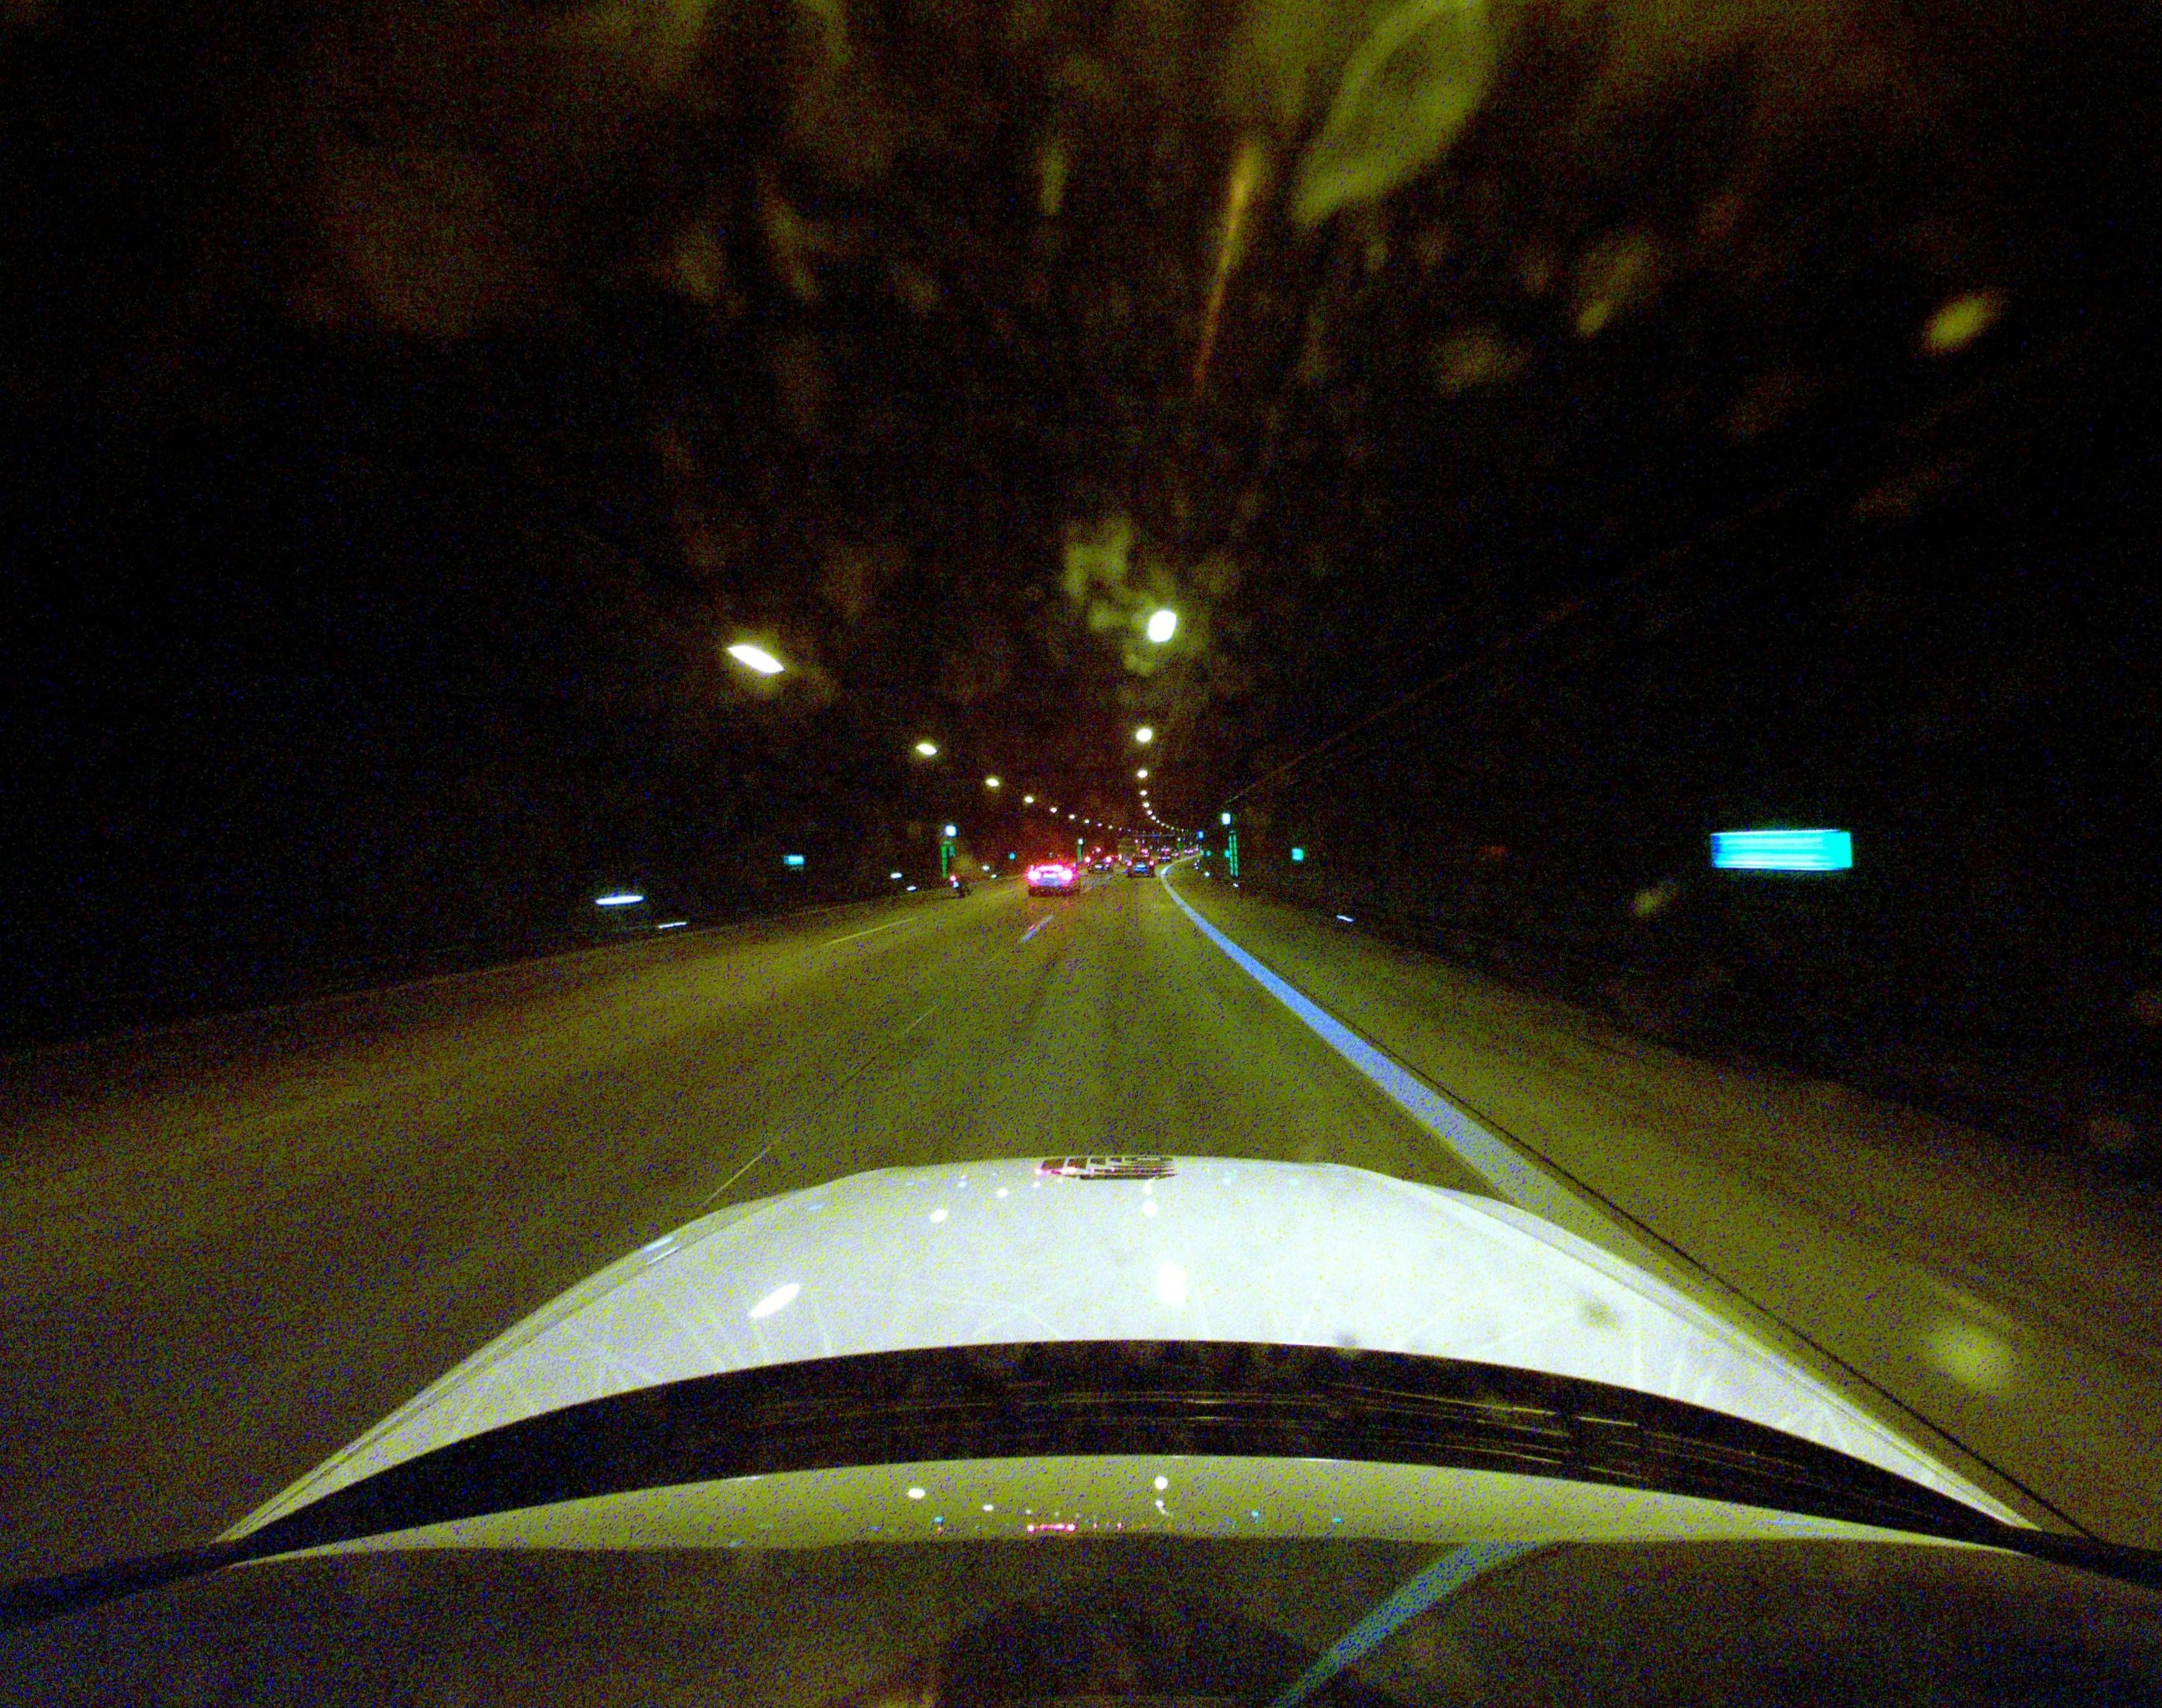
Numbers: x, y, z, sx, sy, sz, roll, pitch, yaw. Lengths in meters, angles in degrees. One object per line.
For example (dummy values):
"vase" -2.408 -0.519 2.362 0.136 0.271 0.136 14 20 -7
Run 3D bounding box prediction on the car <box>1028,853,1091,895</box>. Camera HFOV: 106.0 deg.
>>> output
"car" -0.794 0.754 32.927 1.692 1.419 5.072 -1 1 8

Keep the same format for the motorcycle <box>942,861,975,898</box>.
"motorcycle" -4.638 0.948 30.945 0.679 1.297 2.402 -1 0 5

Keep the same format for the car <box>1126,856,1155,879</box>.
"car" 4.016 0.920 54.871 1.733 1.464 3.878 -1 -1 7

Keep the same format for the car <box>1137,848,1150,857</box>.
"car" 11.559 -0.216 150.177 1.919 1.642 4.010 -1 0 9

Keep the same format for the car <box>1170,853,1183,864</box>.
"car" 15.793 0.692 134.804 1.939 1.772 4.010 -1 -1 9

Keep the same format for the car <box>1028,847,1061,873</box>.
"car" -2.817 0.472 64.290 1.983 2.013 4.007 -1 0 6

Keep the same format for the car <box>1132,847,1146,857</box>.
"car" 9.547 -0.310 133.542 1.981 1.631 4.011 -1 0 9

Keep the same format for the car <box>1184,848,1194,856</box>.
"car" 22.655 -0.400 171.050 1.918 1.642 4.012 -1 -1 11

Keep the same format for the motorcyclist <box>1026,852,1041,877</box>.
"motorcyclist" -2.910 0.639 49.868 0.805 1.448 1.861 -1 -1 -6

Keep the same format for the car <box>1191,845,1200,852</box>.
"car" 27.037 -1.231 191.896 1.981 1.632 4.012 -1 -1 11

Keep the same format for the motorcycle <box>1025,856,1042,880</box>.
"motorcycle" -2.906 0.824 49.847 0.925 1.434 2.957 0 0 -6

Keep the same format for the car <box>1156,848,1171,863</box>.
"car" 10.849 0.217 106.691 1.847 1.854 4.008 -1 0 7

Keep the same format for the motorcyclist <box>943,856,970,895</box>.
"motorcyclist" -4.717 0.796 30.912 0.773 1.452 1.070 -1 -1 4

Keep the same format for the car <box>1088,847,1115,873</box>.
"car" 1.690 0.472 65.990 1.900 1.944 3.878 -1 2 6

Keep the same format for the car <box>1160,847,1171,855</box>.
"car" 19.166 -0.687 183.731 1.917 1.642 4.015 -1 -1 14

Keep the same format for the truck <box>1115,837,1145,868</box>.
"truck" 6.214 -0.200 102.473 3.021 3.673 7.412 -1 0 9
